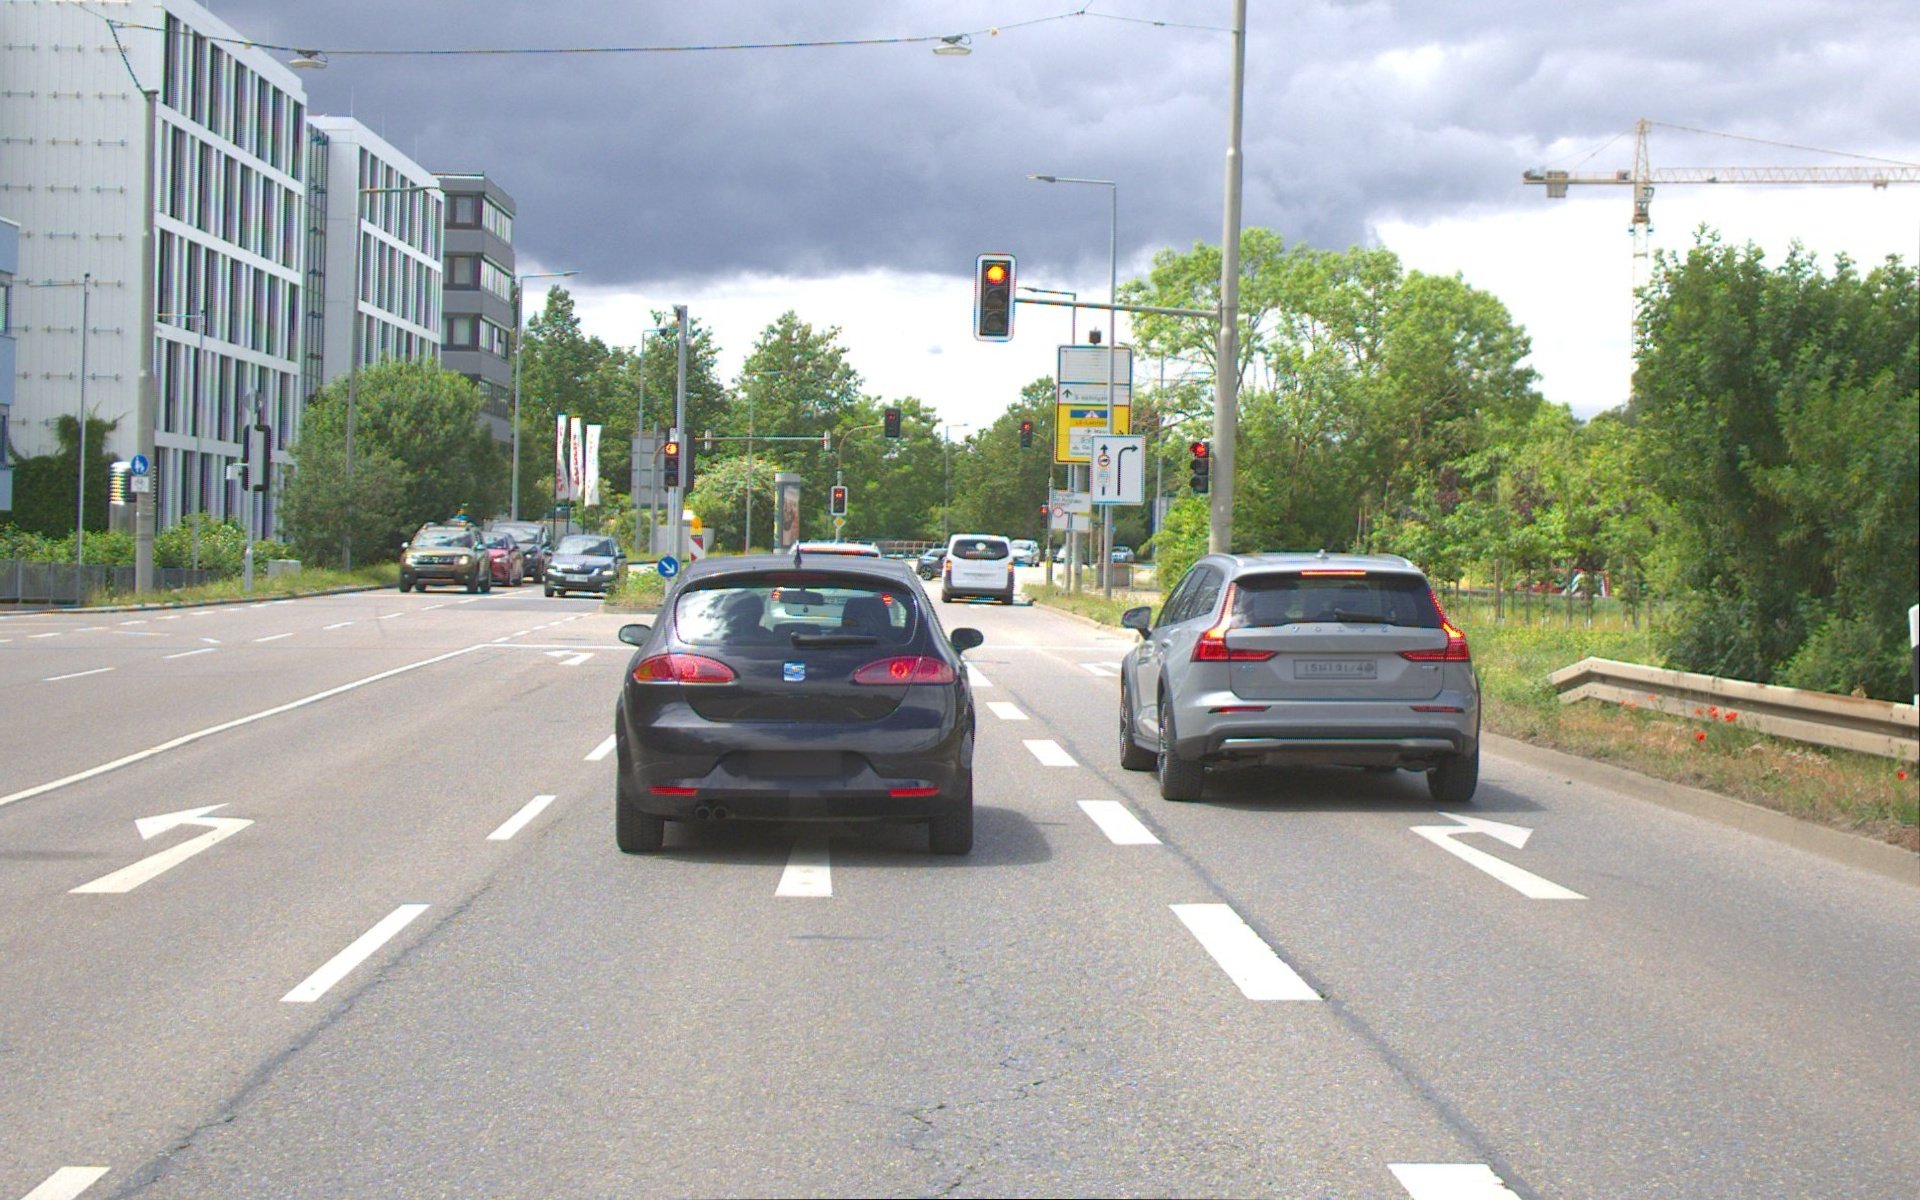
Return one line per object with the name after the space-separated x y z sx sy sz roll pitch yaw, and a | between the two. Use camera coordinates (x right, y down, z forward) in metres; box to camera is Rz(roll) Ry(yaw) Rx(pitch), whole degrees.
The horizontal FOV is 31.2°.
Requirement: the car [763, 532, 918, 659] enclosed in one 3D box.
-1.665 -0.100 47.095 1.983 1.584 4.227 2 1 -3 | car

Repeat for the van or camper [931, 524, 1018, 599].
0.373 -1.012 92.865 1.899 1.919 4.001 2 -1 -5 | van or camper

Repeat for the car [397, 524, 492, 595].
-12.152 -0.957 81.215 1.751 1.625 4.000 -1 1 -2 | car

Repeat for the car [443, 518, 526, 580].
-12.680 -1.373 91.780 1.776 1.606 4.001 1 1 -2 | car

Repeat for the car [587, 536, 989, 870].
-0.767 0.452 17.632 1.748 1.479 4.000 1 0 1 | car

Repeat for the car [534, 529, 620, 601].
-8.910 -0.837 80.189 1.668 1.519 4.009 -1 2 -2 | car

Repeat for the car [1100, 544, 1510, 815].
2.038 0.432 21.566 1.958 1.520 4.340 0 0 -2 | car
